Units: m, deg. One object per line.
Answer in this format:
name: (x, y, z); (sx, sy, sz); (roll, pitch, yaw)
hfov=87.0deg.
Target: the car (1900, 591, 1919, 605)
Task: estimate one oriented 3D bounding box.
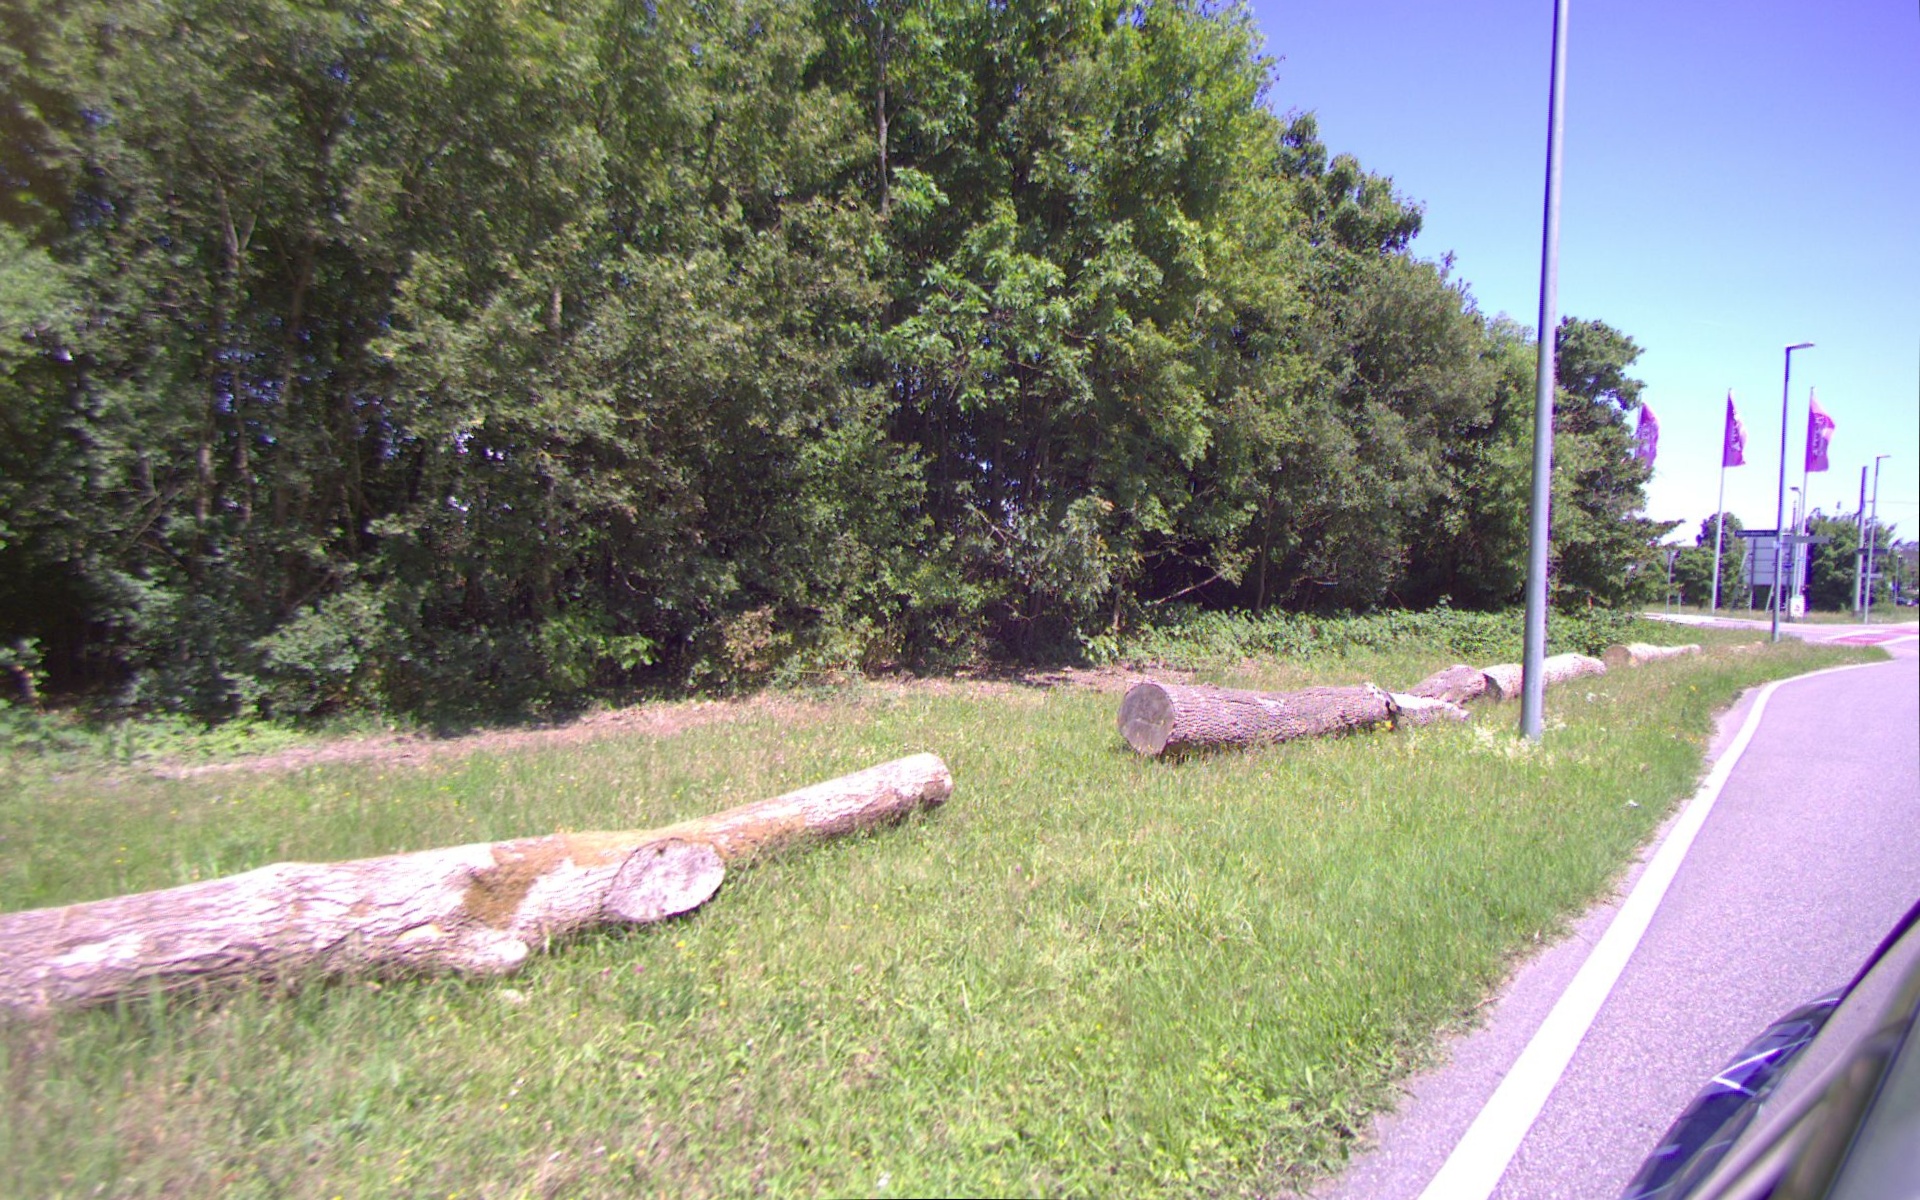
car: (115.815, -0.194, 121.253); (1.837, 1.595, 4.420); (3, 2, -8)
